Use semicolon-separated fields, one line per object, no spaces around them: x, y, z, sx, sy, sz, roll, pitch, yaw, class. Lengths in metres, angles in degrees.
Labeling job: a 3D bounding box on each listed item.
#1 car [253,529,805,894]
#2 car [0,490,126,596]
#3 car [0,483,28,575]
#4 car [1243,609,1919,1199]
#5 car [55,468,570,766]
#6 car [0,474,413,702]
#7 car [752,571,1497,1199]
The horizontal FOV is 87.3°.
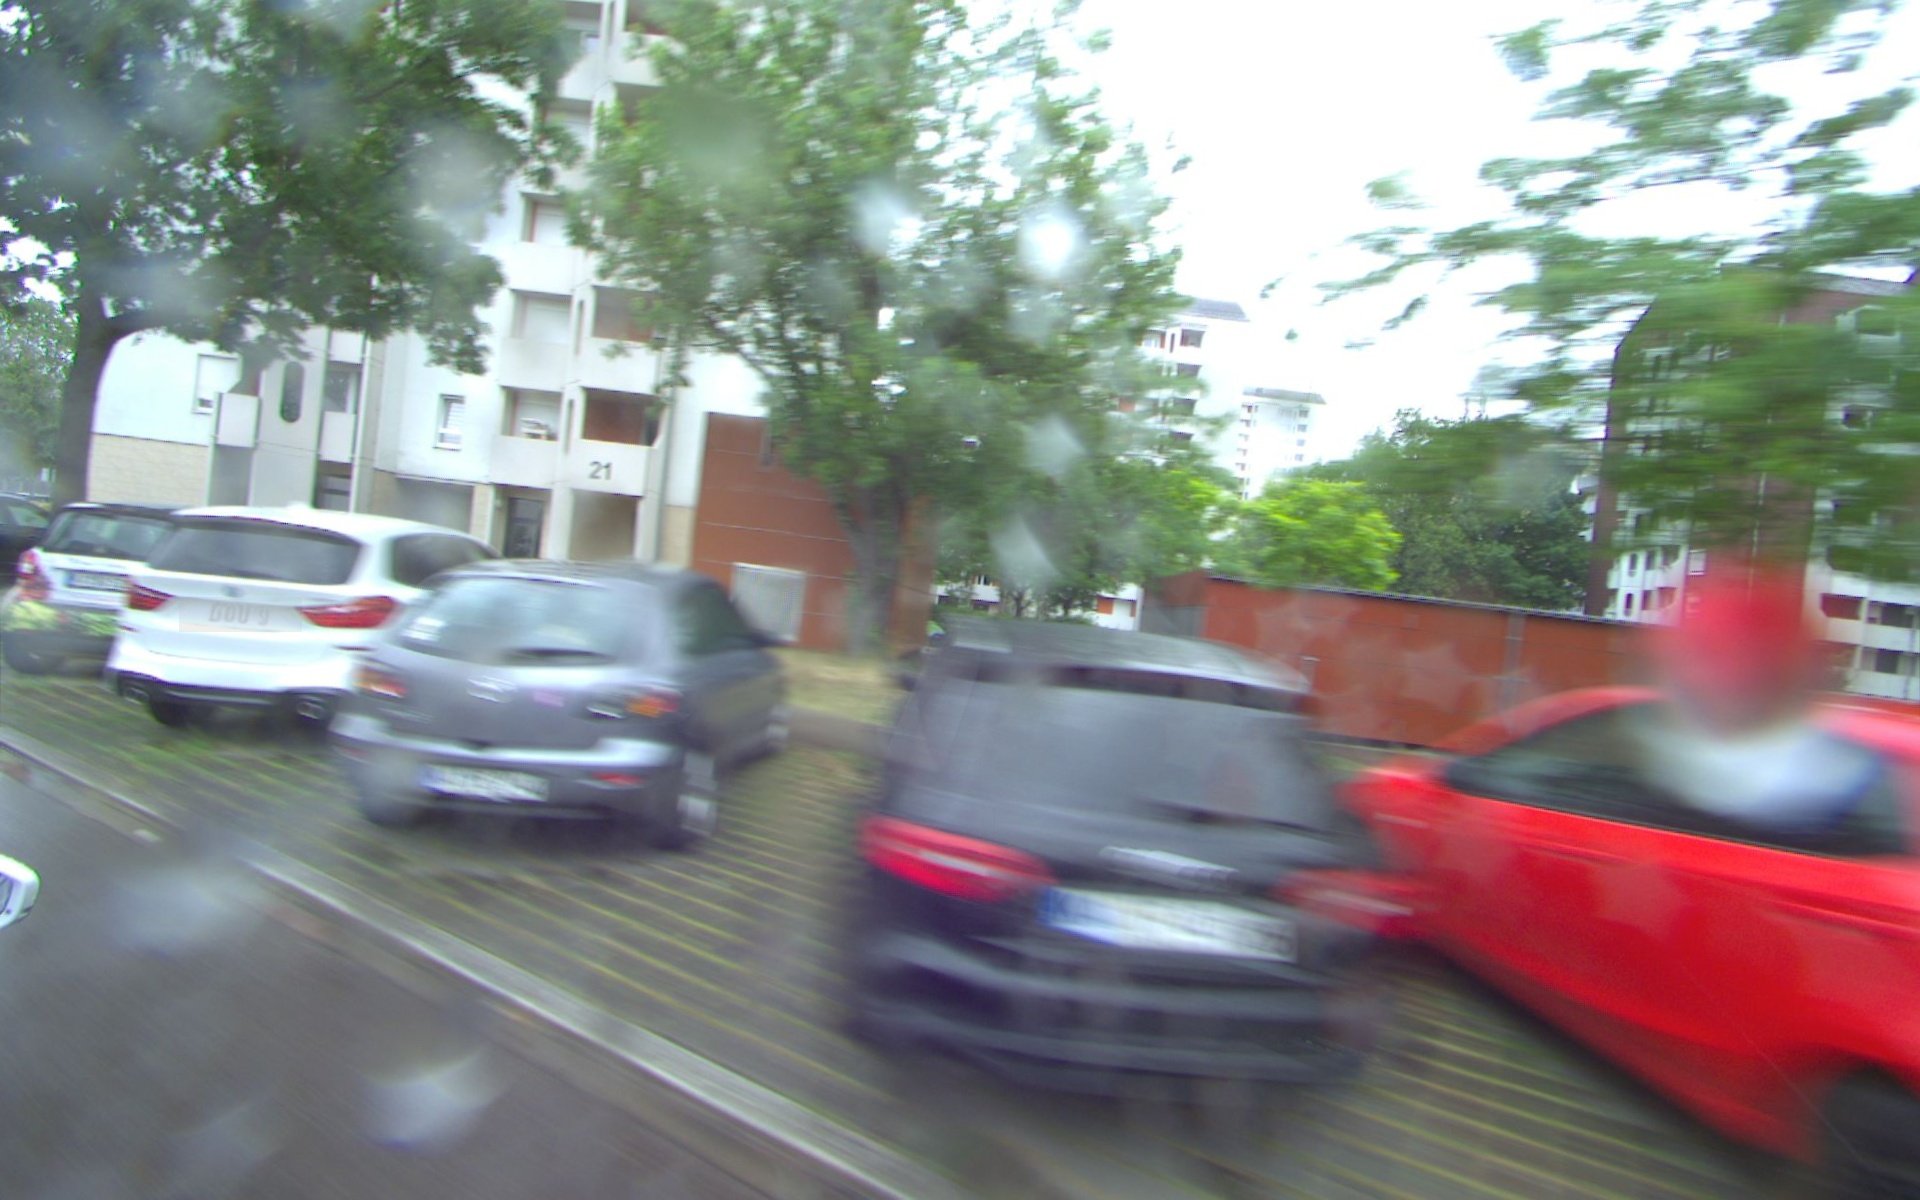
-2.224;0.415;6.613;1.736;1.429;4.454;6;2;-2;car
-14.479;-0.878;14.563;1.654;1.451;3.938;6;2;-4;car
-17.294;-1.238;15.791;1.734;1.569;4.176;6;2;-7;car
2.912;0.972;4.055;1.777;1.447;4.452;6;2;-6;car
-4.894;0.025;8.508;1.781;1.694;4.451;6;2;-7;car
-7.400;-0.191;10.116;1.654;1.694;4.178;6;2;-4;car
0.354;0.693;4.655;1.653;1.447;4.455;6;2;-1;car
